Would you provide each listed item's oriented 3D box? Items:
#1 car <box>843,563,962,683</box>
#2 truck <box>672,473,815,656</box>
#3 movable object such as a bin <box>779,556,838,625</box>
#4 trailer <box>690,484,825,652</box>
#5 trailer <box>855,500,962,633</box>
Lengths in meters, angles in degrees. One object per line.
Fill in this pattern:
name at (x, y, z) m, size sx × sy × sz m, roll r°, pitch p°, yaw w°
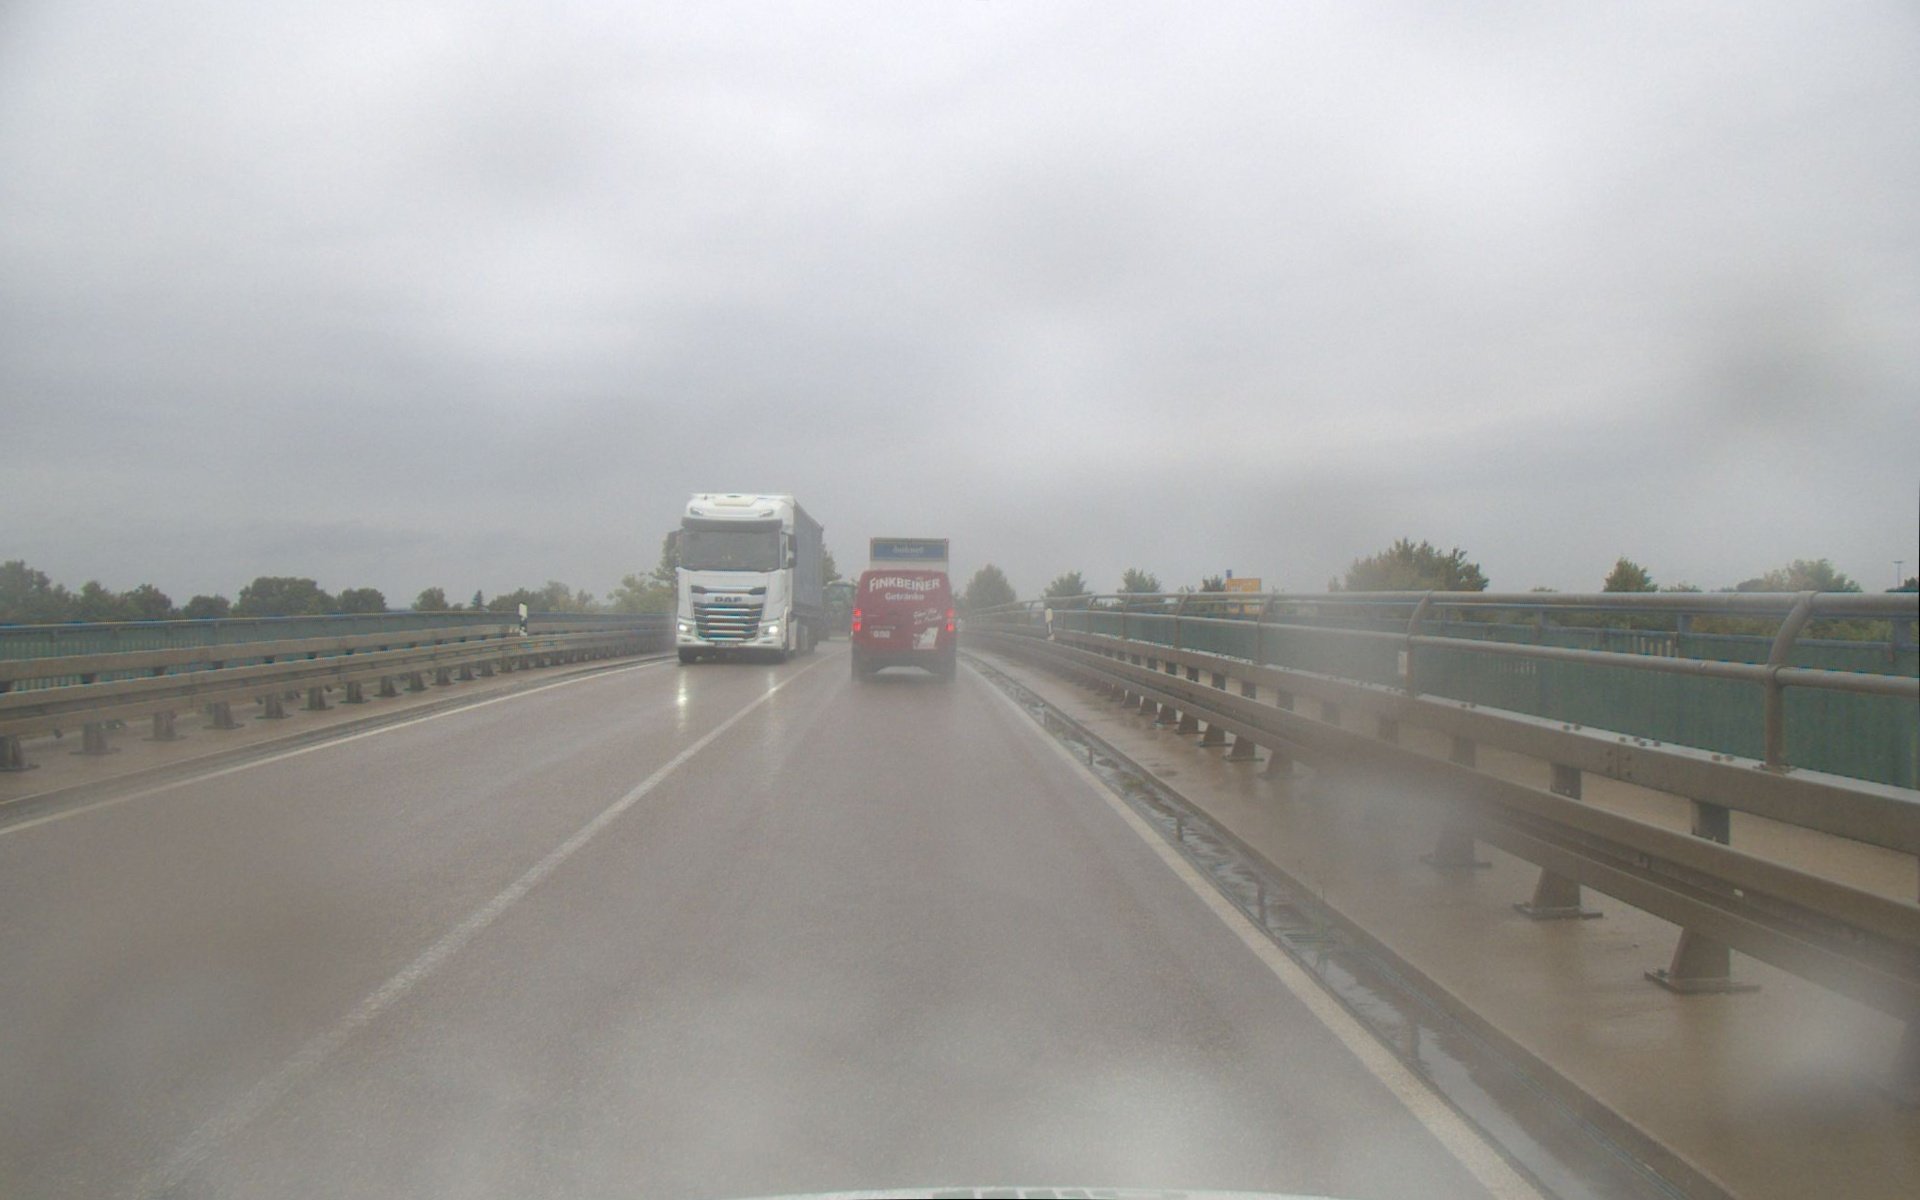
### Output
car at (-1.052, 0.352, 29.717) m, size 1.954 × 1.959 × 4.141 m, roll 1°, pitch 1°, yaw -3°
truck at (-5.180, -0.789, 41.049) m, size 2.761 × 4.039 × 8.759 m, roll 0°, pitch 0°, yaw -3°
movable object such as a bin at (-7.895, -0.478, 86.642) m, size 2.692 × 3.506 × 4.643 m, roll 0°, pitch 0°, yaw 0°
trailer at (-5.461, -0.788, 46.967) m, size 2.761 × 4.039 × 13.728 m, roll 0°, pitch 0°, yaw -3°
trailer at (-1.766, -1.020, 56.124) m, size 3.137 × 3.990 × 8.735 m, roll 3°, pitch 0°, yaw -2°
